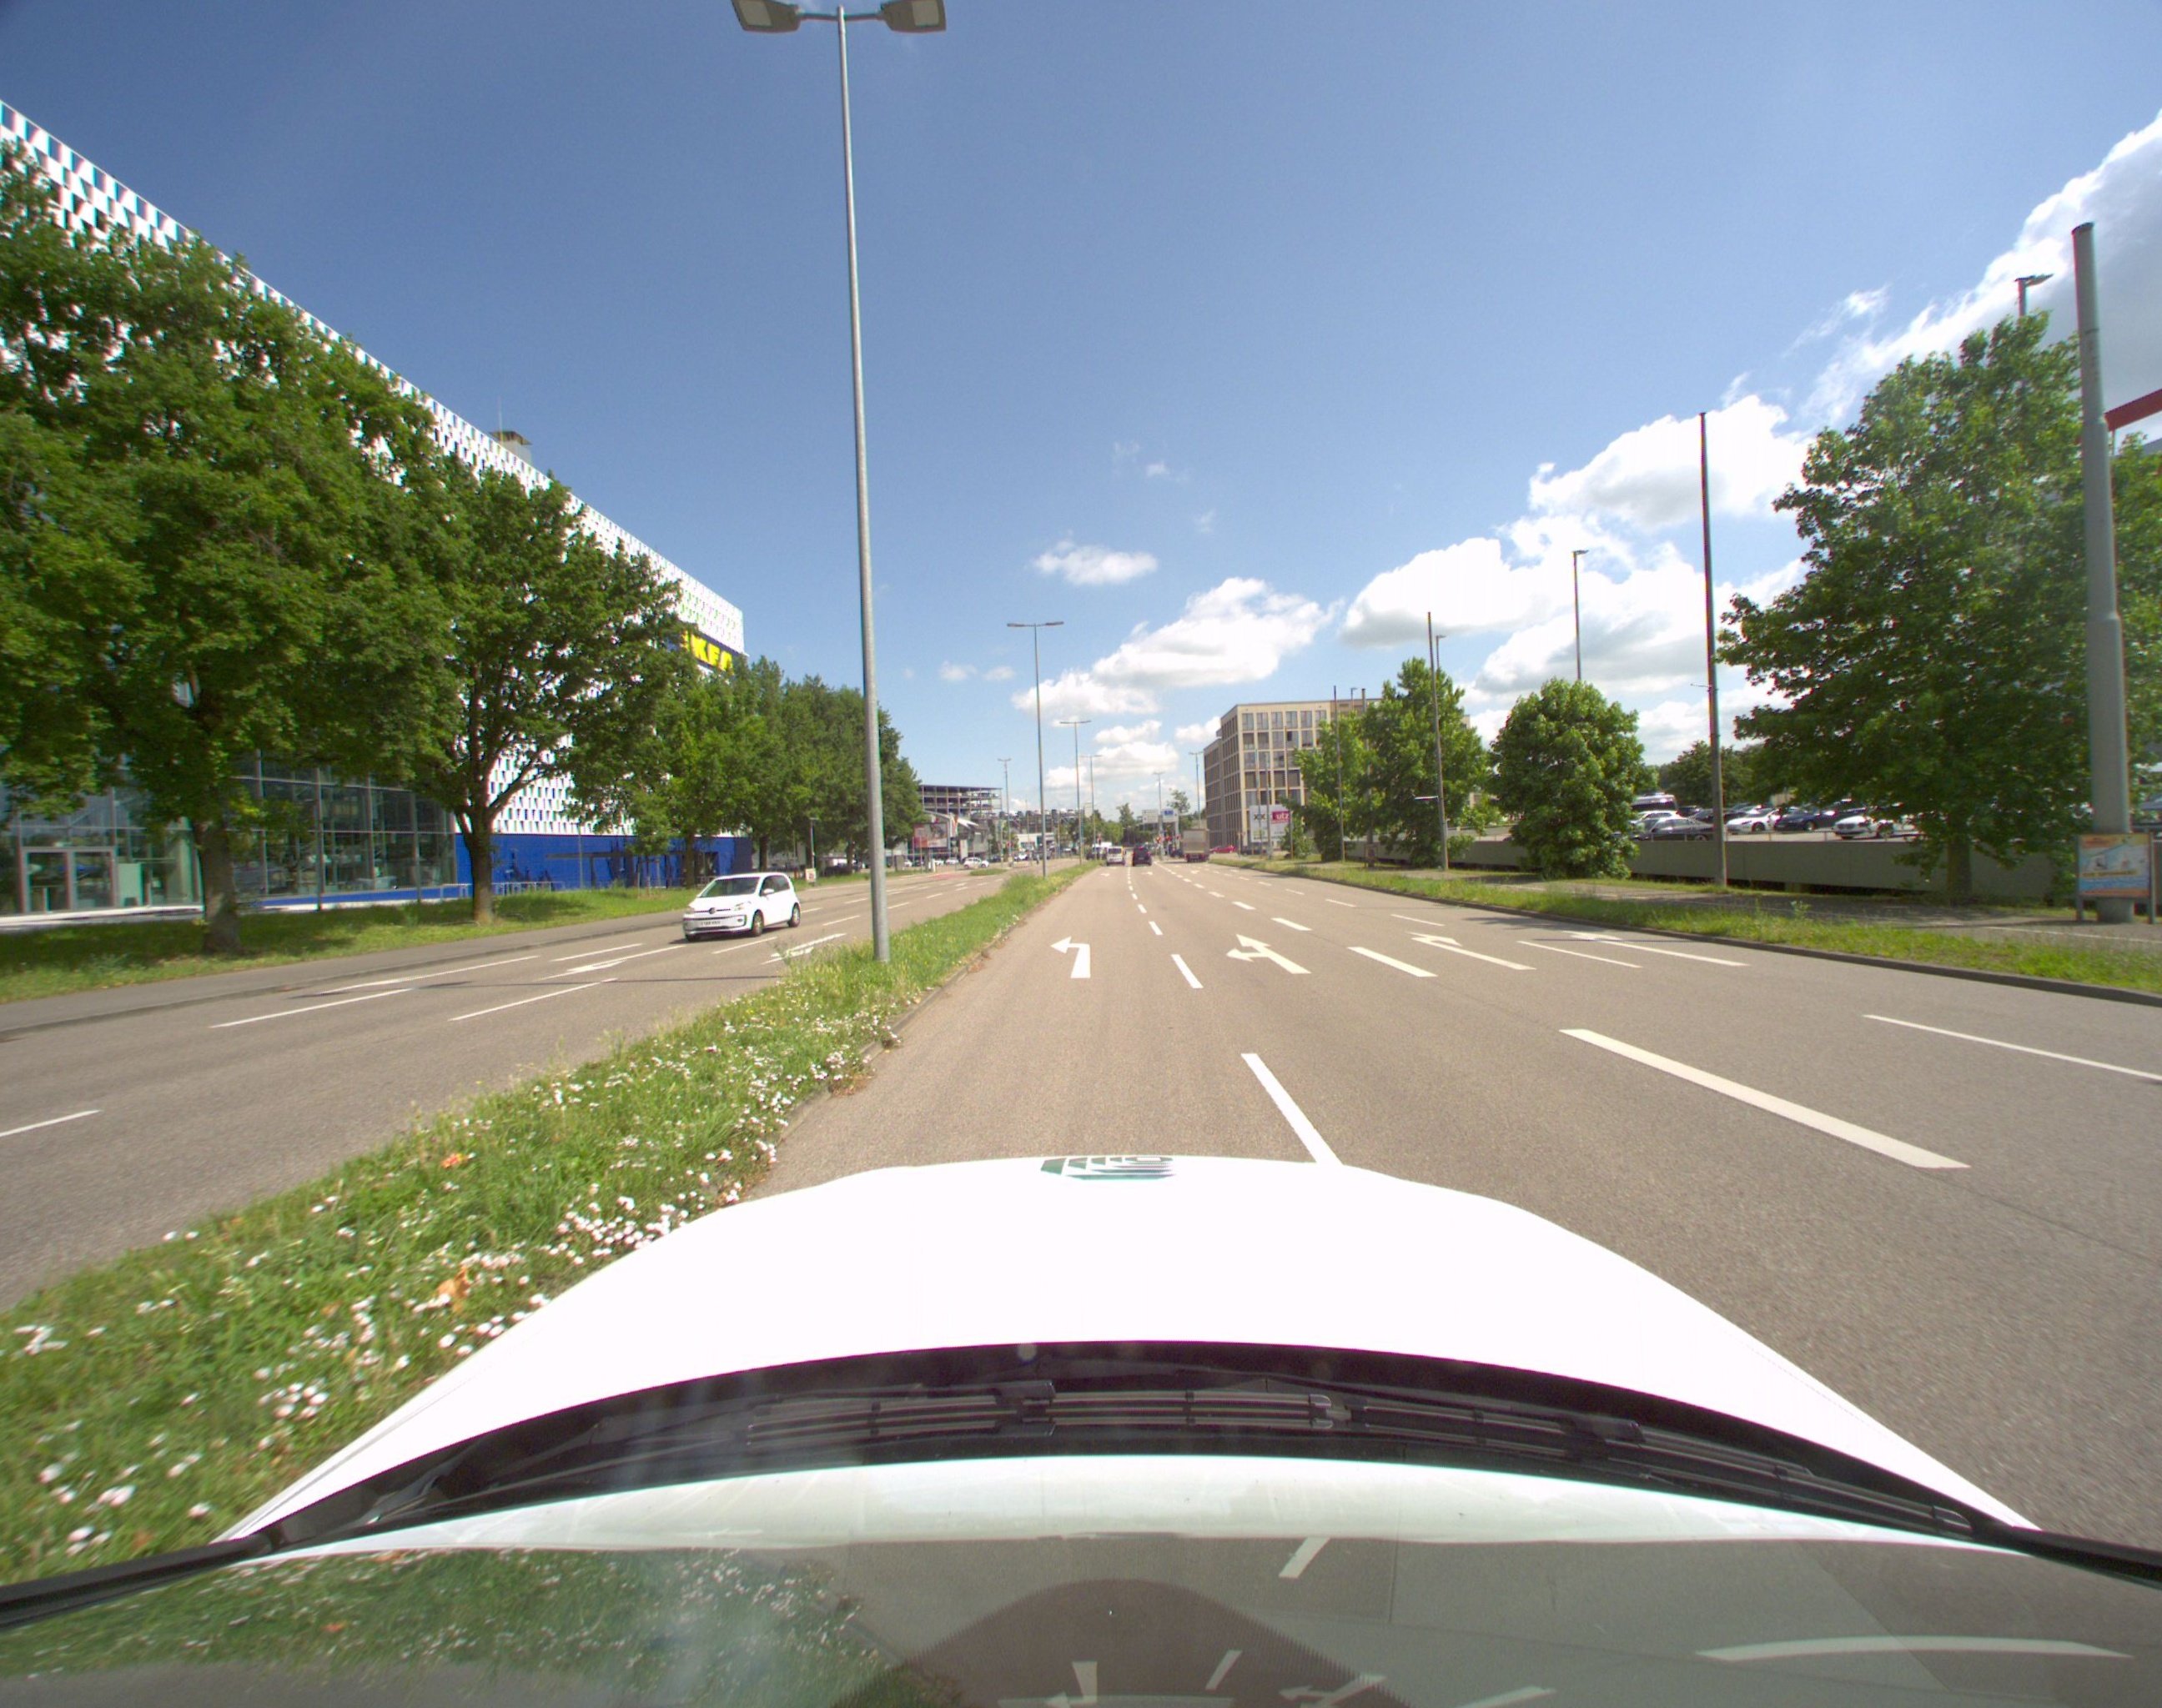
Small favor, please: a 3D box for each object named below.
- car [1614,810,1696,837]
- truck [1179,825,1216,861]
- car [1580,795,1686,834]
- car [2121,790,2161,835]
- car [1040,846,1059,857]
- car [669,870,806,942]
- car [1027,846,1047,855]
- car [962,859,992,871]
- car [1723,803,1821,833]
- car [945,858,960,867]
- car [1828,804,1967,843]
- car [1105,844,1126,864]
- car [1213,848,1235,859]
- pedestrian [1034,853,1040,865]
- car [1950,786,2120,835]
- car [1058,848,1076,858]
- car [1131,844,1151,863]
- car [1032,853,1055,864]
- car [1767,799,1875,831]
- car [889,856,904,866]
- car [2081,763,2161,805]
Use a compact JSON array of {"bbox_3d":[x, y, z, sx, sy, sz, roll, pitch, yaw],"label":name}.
[{"bbox_3d":[36.328,-1.934,51.626,3.975,1.514,1.747,-2,0,-1],"label":"car"},{"bbox_3d":[13.512,-1.311,93.879,3.107,3.940,8.894,-2,1,15],"label":"truck"},{"bbox_3d":[36.911,-2.618,54.542,5.641,2.366,2.061,-2,0,-1],"label":"car"},{"bbox_3d":[34.971,-1.396,24.876,4.169,1.325,1.688,-4,0,1],"label":"car"},{"bbox_3d":[-6.002,-0.481,154.859,3.497,1.712,1.603,-4,1,-1],"label":"car"},{"bbox_3d":[-8.172,1.183,19.748,1.637,1.429,3.671,-4,0,1],"label":"car"},{"bbox_3d":[-9.412,-0.745,174.982,4.155,1.712,1.687,-1,1,-3],"label":"car"},{"bbox_3d":[-14.451,1.557,113.215,3.840,1.466,1.695,-2,1,-1],"label":"car"},{"bbox_3d":[39.847,-2.067,47.009,4.169,1.434,1.726,-4,1,0],"label":"car"},{"bbox_3d":[-21.730,1.448,138.015,1.770,1.450,4.029,-2,1,0],"label":"car"},{"bbox_3d":[35.103,-1.307,35.099,4.173,1.389,1.892,-4,1,-2],"label":"car"},{"bbox_3d":[3.611,-0.022,85.008,1.847,2.018,4.007,-1,1,5],"label":"car"},{"bbox_3d":[22.501,-0.141,128.284,3.261,1.405,1.335,-2,9,1],"label":"car"},{"bbox_3d":[-5.720,0.685,105.698,0.464,1.512,0.515,-2,0,28],"label":"pedestrian"},{"bbox_3d":[35.251,-1.570,30.174,3.975,1.571,1.999,-2,0,-1],"label":"car"},{"bbox_3d":[-3.021,-0.233,175.358,3.978,1.926,1.825,-2,0,-3],"label":"car"},{"bbox_3d":[5.946,-0.077,80.057,1.810,1.809,4.007,-1,0,6],"label":"car"},{"bbox_3d":[-6.610,0.736,143.984,3.850,1.639,1.858,-4,1,-1],"label":"car"},{"bbox_3d":[40.376,-2.093,44.517,4.169,1.434,1.893,-4,1,0],"label":"car"},{"bbox_3d":[-30.824,1.155,136.215,1.751,1.660,3.616,-2,1,-1],"label":"car"},{"bbox_3d":[53.889,-3.563,41.254,3.972,1.951,2.001,-2,1,1],"label":"car"}]
